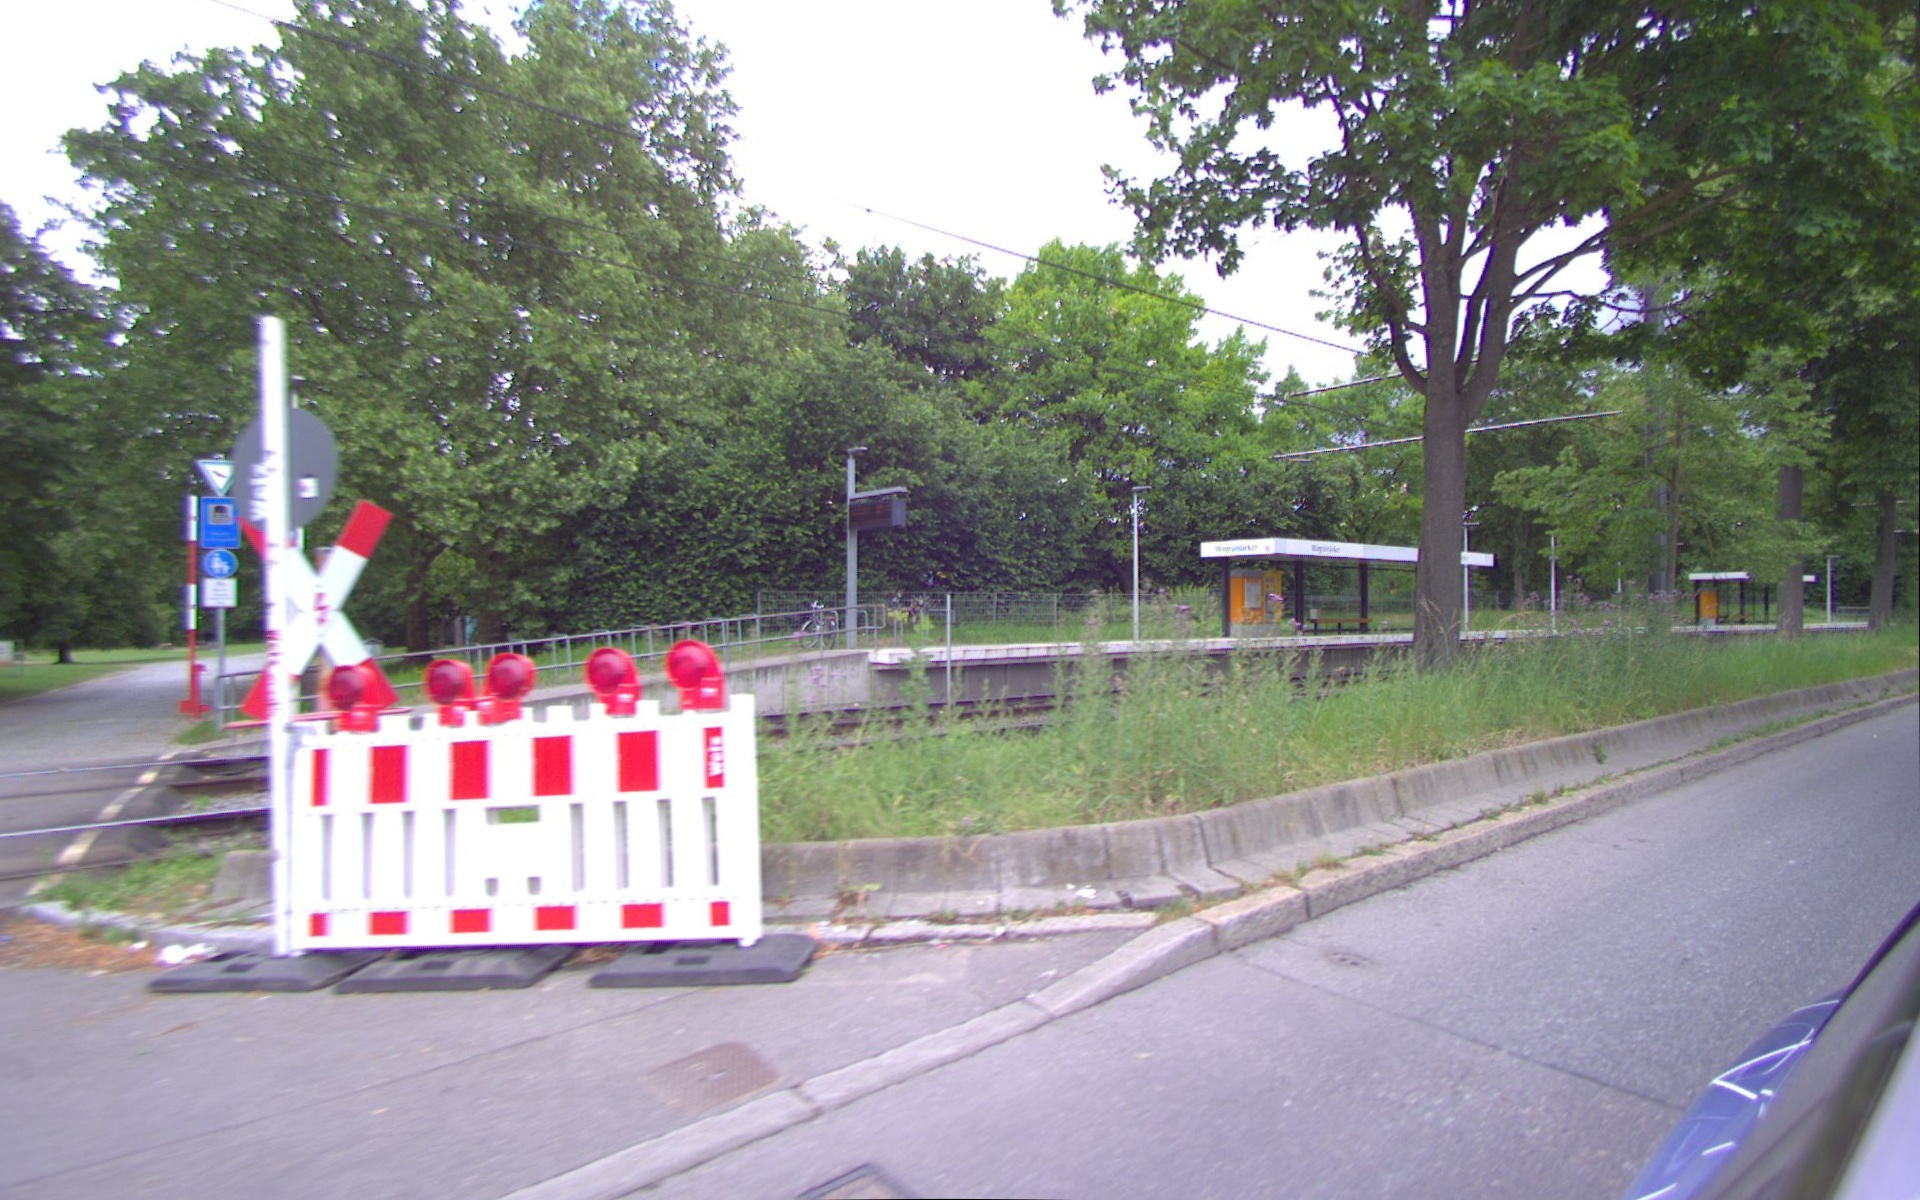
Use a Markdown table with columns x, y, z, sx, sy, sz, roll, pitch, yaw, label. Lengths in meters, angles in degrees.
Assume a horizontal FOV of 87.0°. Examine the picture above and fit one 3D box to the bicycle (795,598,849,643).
| x | y | z | sx | sy | sz | roll | pitch | yaw | label |
| --- | --- | --- | --- | --- | --- | --- | --- | --- | --- |
| -3.090 | 0.468 | 22.592 | 0.442 | 0.986 | 1.511 | 1 | -2 | -40 | bicycle |
